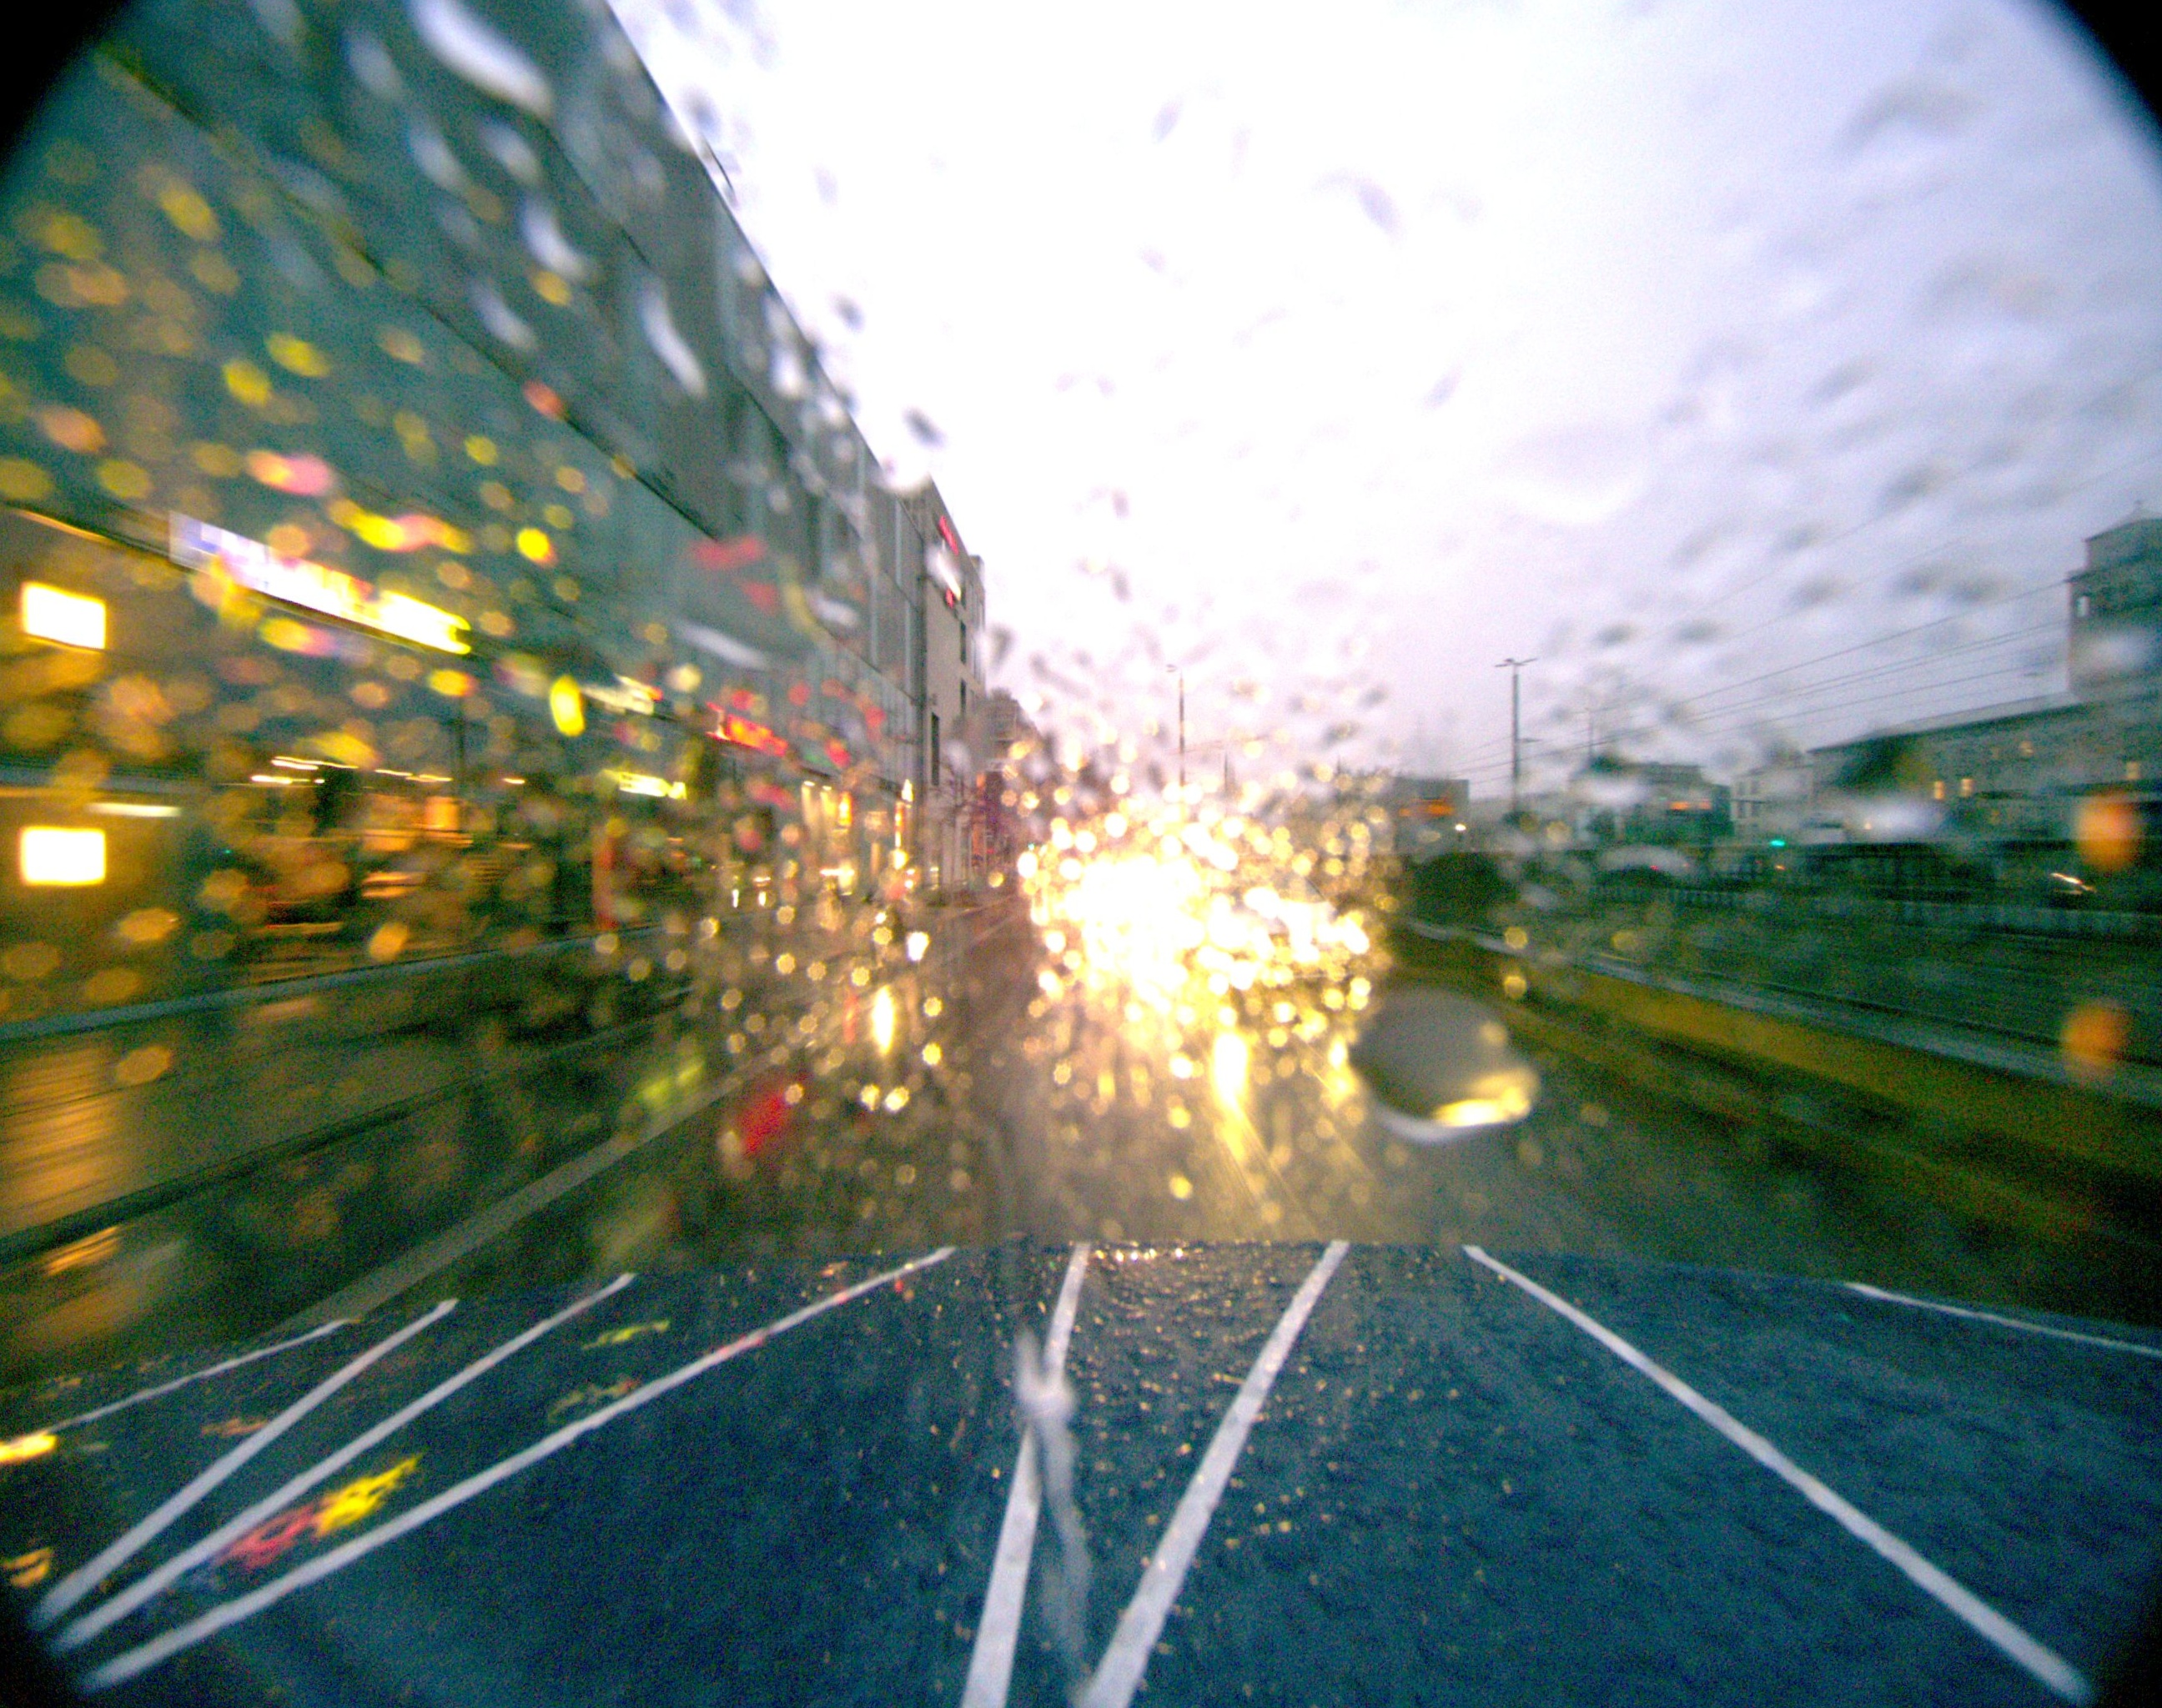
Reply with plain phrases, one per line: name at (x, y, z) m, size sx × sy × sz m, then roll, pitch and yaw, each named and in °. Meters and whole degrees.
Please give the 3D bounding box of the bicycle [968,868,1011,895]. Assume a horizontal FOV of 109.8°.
bicycle at (-4.225, 1.268, 35.215) m, size 1.908 × 1.168 × 0.667 m, roll 1°, pitch 0°, yaw 2°

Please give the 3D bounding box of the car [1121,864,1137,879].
car at (5.762, 2.063, 91.681) m, size 1.867 × 1.652 × 3.987 m, roll -1°, pitch 0°, yaw 2°

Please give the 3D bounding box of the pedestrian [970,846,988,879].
pedestrian at (-7.003, 0.584, 52.027) m, size 0.960 × 2.179 × 0.712 m, roll -1°, pitch 1°, yaw 14°

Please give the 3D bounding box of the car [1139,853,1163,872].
car at (6.261, 0.735, 68.379) m, size 1.867 × 1.652 × 3.987 m, roll -1°, pitch 0°, yaw 2°

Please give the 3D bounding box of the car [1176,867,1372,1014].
car at (2.313, 0.970, 10.183) m, size 1.813 × 1.464 × 4.140 m, roll -1°, pitch 0°, yaw 4°

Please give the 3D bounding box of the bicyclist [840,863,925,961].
bicyclist at (-3.131, 0.893, 12.080) m, size 0.945 × 1.454 × 1.067 m, roll -1°, pitch 0°, yaw 8°

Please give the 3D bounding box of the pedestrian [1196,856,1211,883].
pedestrian at (8.121, 1.028, 50.355) m, size 0.654 × 1.708 × 0.749 m, roll -2°, pitch 0°, yaw -24°

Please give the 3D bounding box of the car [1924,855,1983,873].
car at (68.148, 0.784, 59.382) m, size 3.159 × 1.267 × 1.450 m, roll -1°, pitch 0°, yaw -6°

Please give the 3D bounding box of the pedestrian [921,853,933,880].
pedestrian at (-10.353, 0.857, 51.064) m, size 0.616 × 1.794 × 0.624 m, roll -2°, pitch 0°, yaw 3°

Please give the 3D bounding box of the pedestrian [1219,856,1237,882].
pedestrian at (9.852, 1.000, 50.933) m, size 0.862 × 1.704 × 0.763 m, roll -2°, pitch 0°, yaw -24°

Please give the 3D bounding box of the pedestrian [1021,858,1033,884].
pedestrian at (-3.594, 1.146, 50.763) m, size 0.707 × 1.684 × 0.723 m, roll 1°, pitch 0°, yaw -9°

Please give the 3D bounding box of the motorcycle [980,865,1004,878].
motorcycle at (-6.231, 1.210, 53.335) m, size 1.636 × 0.884 × 0.395 m, roll -2°, pitch 0°, yaw 4°

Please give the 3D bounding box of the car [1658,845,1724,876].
car at (56.934, 0.598, 71.008) m, size 4.434 × 2.695 × 2.001 m, roll -1°, pitch 0°, yaw 6°

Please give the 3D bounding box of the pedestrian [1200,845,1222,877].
pedestrian at (8.895, 0.482, 51.926) m, size 1.054 × 2.195 × 0.956 m, roll -2°, pitch 0°, yaw -24°

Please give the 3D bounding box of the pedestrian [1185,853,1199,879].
pedestrian at (7.446, 0.787, 50.992) m, size 0.665 × 1.725 × 0.606 m, roll 0°, pitch 2°, yaw 38°

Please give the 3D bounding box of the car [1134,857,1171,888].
car at (4.148, 1.024, 44.527) m, size 1.998 × 1.673 × 4.001 m, roll -1°, pitch 0°, yaw 4°

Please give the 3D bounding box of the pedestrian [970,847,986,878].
pedestrian at (-7.154, 0.597, 52.779) m, size 0.965 × 2.149 × 0.581 m, roll -1°, pitch 1°, yaw 14°

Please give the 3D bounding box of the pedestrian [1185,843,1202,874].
pedestrian at (8.005, 0.334, 54.120) m, size 0.906 × 2.133 × 1.017 m, roll -2°, pitch 0°, yaw -9°

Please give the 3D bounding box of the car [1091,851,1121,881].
car at (1.756, 0.787, 51.451) m, size 1.864 × 1.867 × 4.001 m, roll -1°, pitch 0°, yaw 3°

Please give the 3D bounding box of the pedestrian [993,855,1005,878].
pedestrian at (-5.807, 0.855, 53.738) m, size 0.779 × 1.598 × 0.501 m, roll -2°, pitch 0°, yaw 3°

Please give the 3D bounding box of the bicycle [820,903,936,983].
bicycle at (-3.122, 1.349, 11.978) m, size 0.945 × 0.993 × 2.241 m, roll -2°, pitch 0°, yaw 8°
